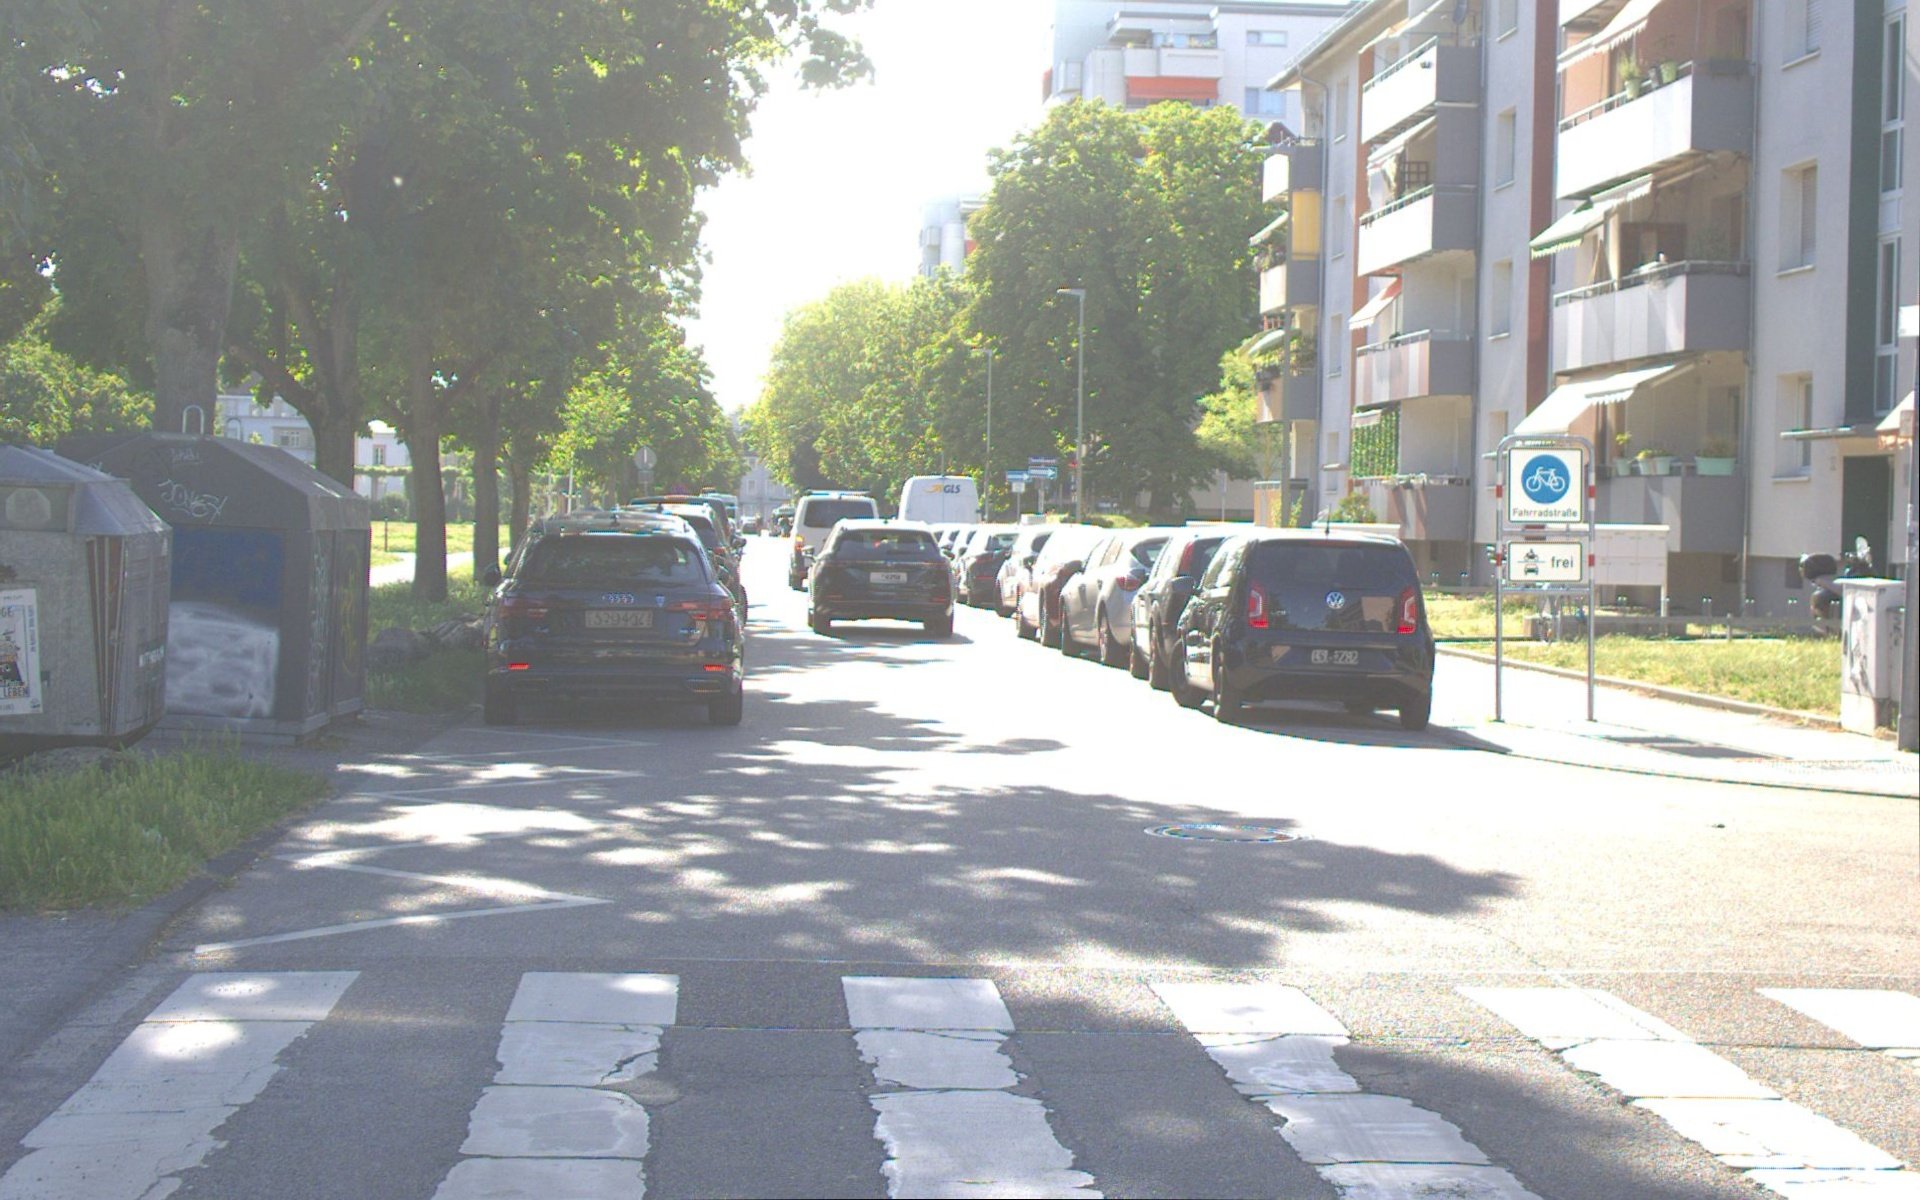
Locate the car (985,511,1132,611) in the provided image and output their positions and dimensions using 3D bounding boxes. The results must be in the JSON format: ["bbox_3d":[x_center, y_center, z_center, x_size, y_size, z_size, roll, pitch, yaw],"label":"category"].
[{"bbox_3d":[1.517,-0.643,54.409,1.747,1.494,3.862,1,1,-7],"label":"car"}]

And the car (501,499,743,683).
[{"bbox_3d":[-3.073,-0.147,30.969,1.993,1.511,5.159,0,2,-6],"label":"car"}]

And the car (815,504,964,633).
[{"bbox_3d":[-0.955,-0.449,44.750,1.779,1.526,4.001,3,1,-3],"label":"car"}]

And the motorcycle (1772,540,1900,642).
[{"bbox_3d":[10.331,-0.116,40.612,0.582,1.147,2.038,1,1,-13],"label":"motorcycle"}]

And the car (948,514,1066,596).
[{"bbox_3d":[0.832,-0.844,62.965,1.699,1.430,4.472,0,2,-5],"label":"car"}]

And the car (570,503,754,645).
[{"bbox_3d":[-3.553,-0.360,41.762,2.025,1.620,4.758,0,2,-3],"label":"car"}]

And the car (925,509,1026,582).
[{"bbox_3d":[0.297,-1.187,73.757,1.877,1.470,4.141,1,1,-3],"label":"car"}]

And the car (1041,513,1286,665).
[{"bbox_3d":[2.180,-0.172,38.107,1.873,1.528,4.494,1,1,-7],"label":"car"}]

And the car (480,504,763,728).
[{"bbox_3d":[-2.488,0.046,25.225,1.835,1.447,4.970,1,1,-6],"label":"car"}]

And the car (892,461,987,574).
[{"bbox_3d":[-0.561,-2.087,86.368,2.142,2.703,6.842,0,2,-2],"label":"car"}]

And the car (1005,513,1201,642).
[{"bbox_3d":[1.736,-0.329,43.475,1.843,1.467,5.066,1,1,-4],"label":"car"}]

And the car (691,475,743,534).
[{"bbox_3d":[-10.531,-4.134,149.097,2.098,2.487,4.127,1,1,-3],"label":"car"}]

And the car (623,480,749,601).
[{"bbox_3d":[-4.271,-0.938,54.080,1.864,1.778,4.992,1,1,-4],"label":"car"}]

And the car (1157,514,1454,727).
[{"bbox_3d":[2.639,0.103,27.082,1.658,1.469,3.793,3,1,-4],"label":"car"}]

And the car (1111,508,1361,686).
[{"bbox_3d":[2.528,-0.083,32.557,1.769,1.524,4.558,1,1,-3],"label":"car"}]

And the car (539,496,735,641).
[{"bbox_3d":[-3.329,-0.335,36.027,1.880,1.414,3.804,1,1,-3],"label":"car"}]

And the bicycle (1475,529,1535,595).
[{"bbox_3d":[9.226,-0.657,58.262,0.523,1.067,2.010,-1,2,-5],"label":"bicycle"}]

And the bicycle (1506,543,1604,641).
[{"bbox_3d":[6.955,-0.107,40.272,0.720,1.074,1.897,2,1,-2],"label":"bicycle"}]

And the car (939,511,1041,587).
[{"bbox_3d":[0.571,-1.031,68.388,1.721,1.430,4.153,1,2,-4],"label":"car"}]

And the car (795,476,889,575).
[{"bbox_3d":[-2.467,-1.554,71.328,1.894,1.984,4.011,0,2,-3],"label":"car"}]

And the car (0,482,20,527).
[{"bbox_3d":[-47.338,-4.687,168.361,1.693,2.206,5.010,1,1,-6],"label":"car"}]
